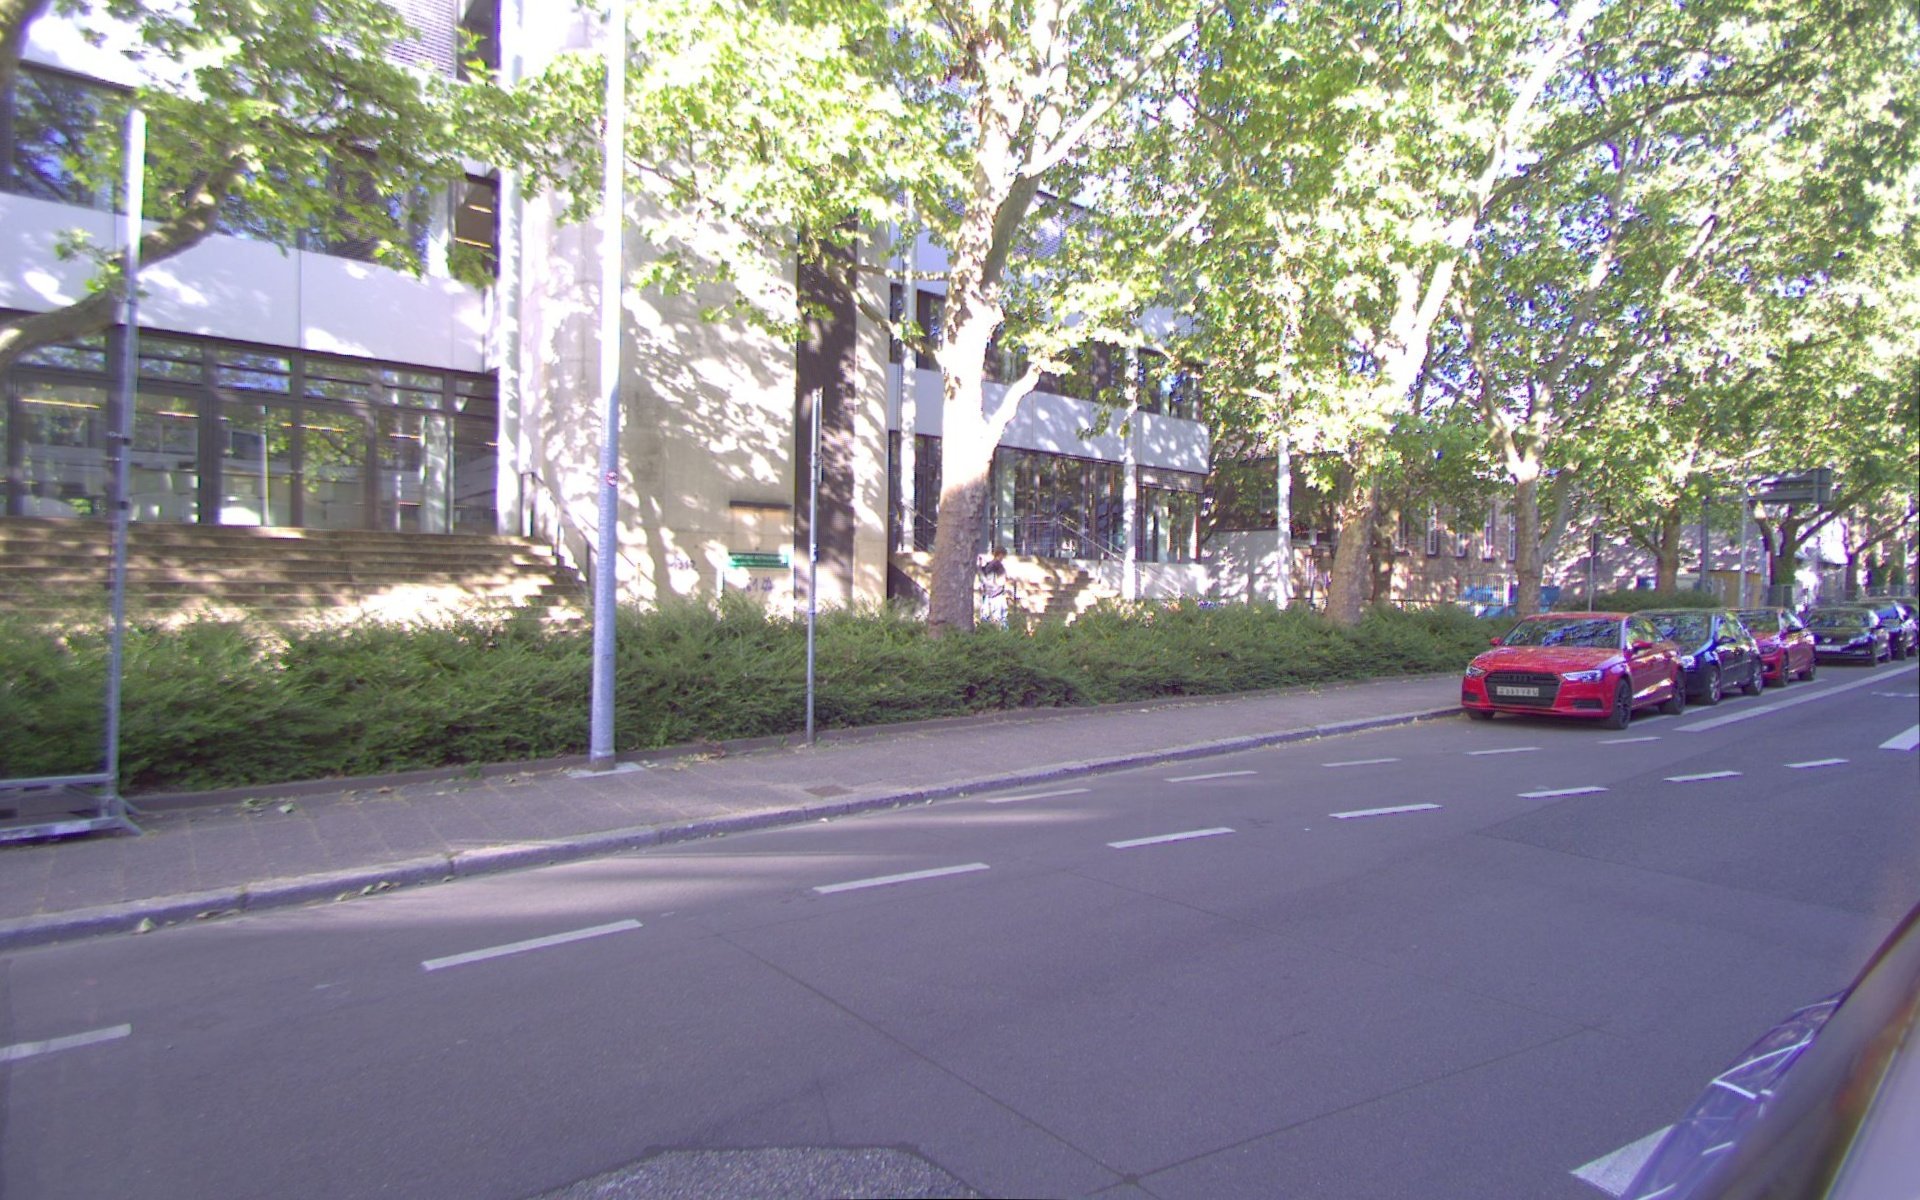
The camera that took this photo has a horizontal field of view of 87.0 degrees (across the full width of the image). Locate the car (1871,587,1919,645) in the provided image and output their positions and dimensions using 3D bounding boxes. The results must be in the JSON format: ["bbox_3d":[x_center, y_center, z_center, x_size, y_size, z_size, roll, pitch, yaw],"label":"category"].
[{"bbox_3d":[31.165,0.473,33.017,4.497,1.814,1.632,-1,0,-41],"label":"car"}]

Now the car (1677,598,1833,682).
[{"bbox_3d":[15.736,0.708,19.976,3.854,1.467,1.691,-1,0,-40],"label":"car"}]

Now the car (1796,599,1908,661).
[{"bbox_3d":[22.941,0.711,25.992,3.855,1.441,1.691,-1,0,-41],"label":"car"}]

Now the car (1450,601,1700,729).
[{"bbox_3d":[8.294,0.736,13.519,3.931,1.409,1.792,-1,1,-42],"label":"car"}]

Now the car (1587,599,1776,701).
[{"bbox_3d":[11.849,0.729,16.549,3.632,1.436,1.668,-1,0,-40],"label":"car"}]

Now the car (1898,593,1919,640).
[{"bbox_3d":[35.528,0.573,36.789,4.497,1.633,1.632,-1,0,-41],"label":"car"}]

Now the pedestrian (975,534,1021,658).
[{"bbox_3d":[0.631,-0.069,16.970,0.549,2.039,0.555,0,0,38],"label":"pedestrian"}]

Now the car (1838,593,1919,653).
[{"bbox_3d":[26.627,0.604,29.049,4.158,1.598,1.632,-1,0,-41],"label":"car"}]
